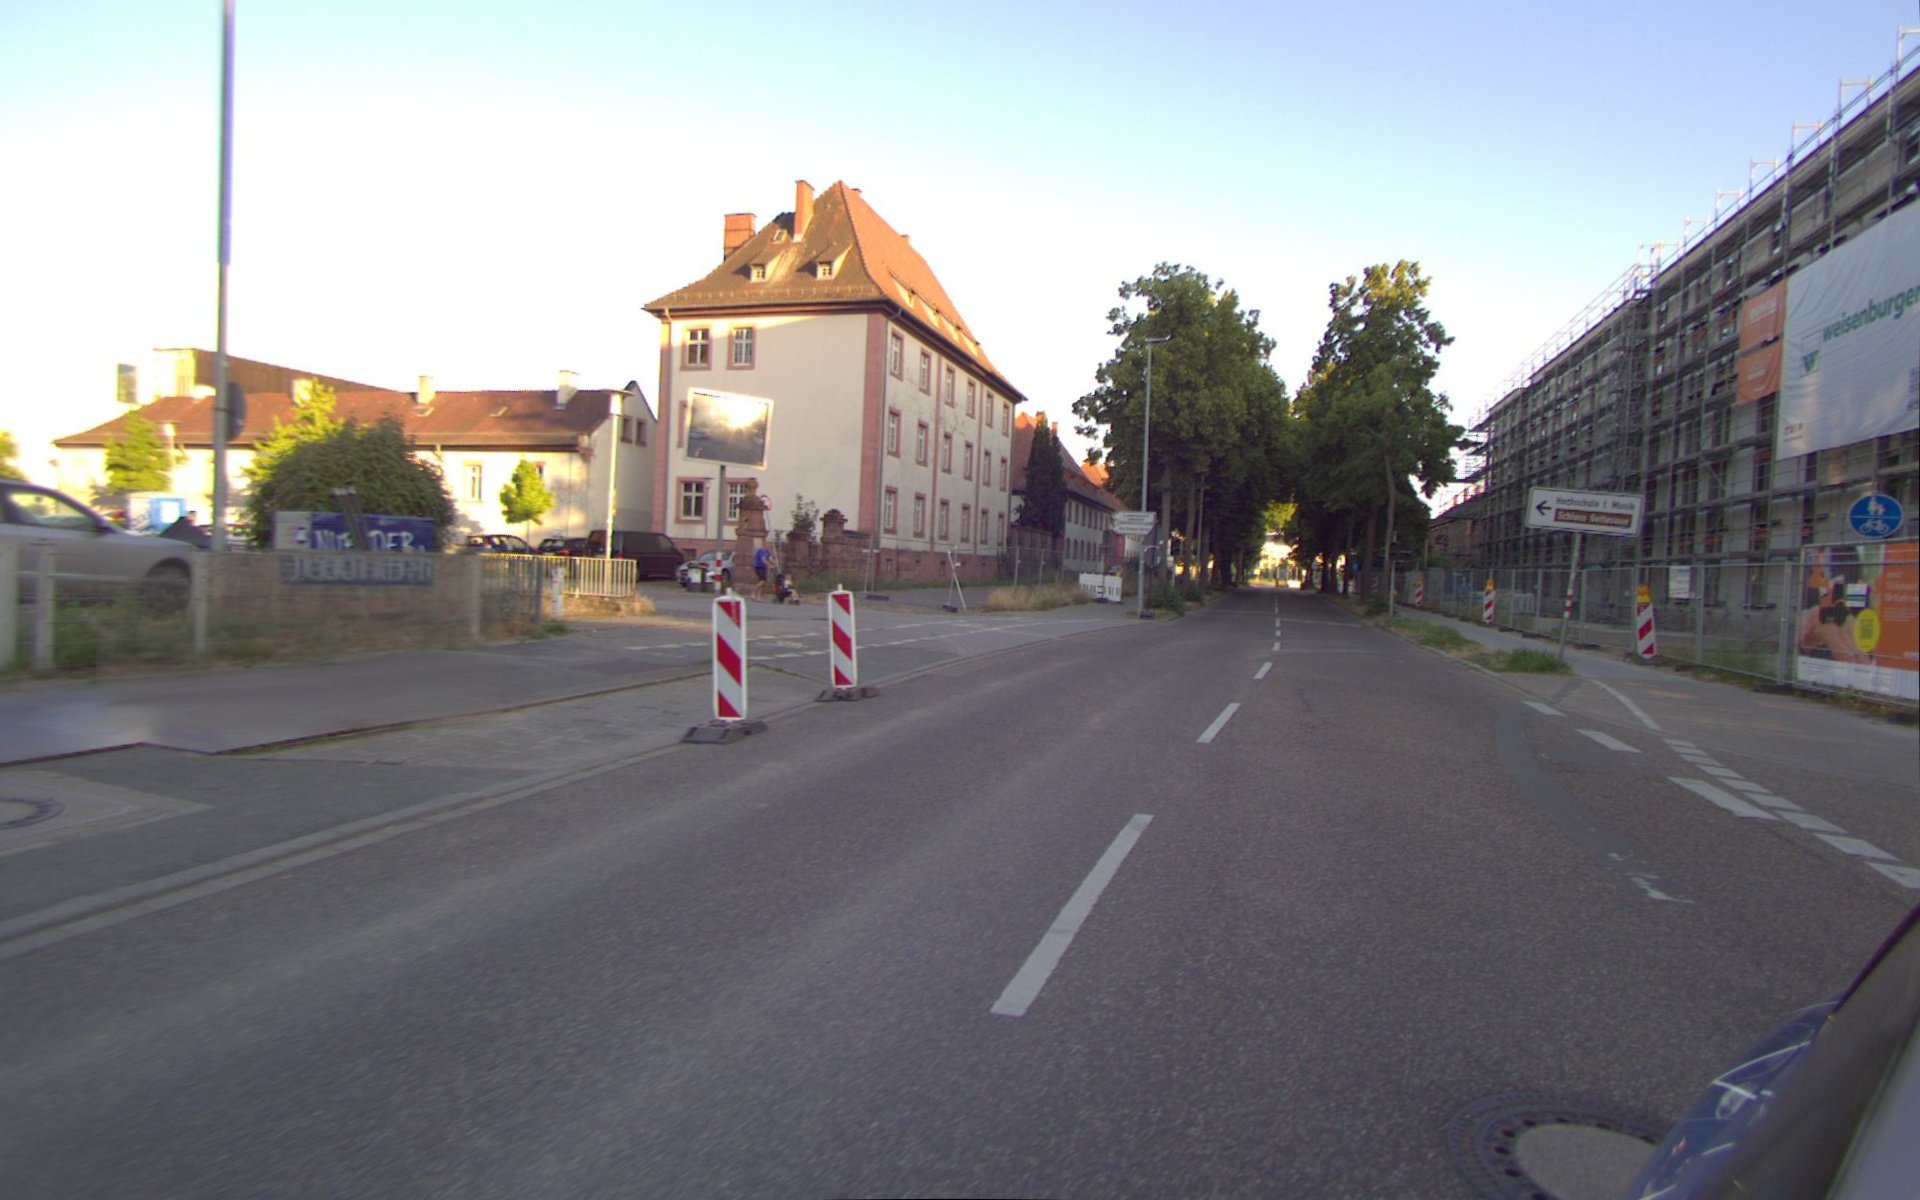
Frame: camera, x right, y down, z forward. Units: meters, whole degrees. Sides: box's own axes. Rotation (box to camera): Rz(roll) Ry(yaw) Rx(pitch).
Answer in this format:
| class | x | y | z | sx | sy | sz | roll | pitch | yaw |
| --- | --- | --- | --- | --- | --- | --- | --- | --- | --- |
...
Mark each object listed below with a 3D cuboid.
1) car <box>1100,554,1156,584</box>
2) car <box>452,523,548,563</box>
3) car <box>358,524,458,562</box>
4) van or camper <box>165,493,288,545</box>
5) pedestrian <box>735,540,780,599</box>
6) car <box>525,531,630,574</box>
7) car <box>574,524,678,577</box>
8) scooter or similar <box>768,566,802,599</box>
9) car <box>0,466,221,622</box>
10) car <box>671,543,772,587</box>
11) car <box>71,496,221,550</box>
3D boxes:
| class | x | y | z | sx | sy | sz | roll | pitch | yaw |
| --- | --- | --- | --- | --- | --- | --- | --- | --- | --- |
| car | 12.455 | -2.298 | 74.988 | 3.942 | 2.038 | 1.992 | 3 | 2 | 14 |
| car | -19.235 | -2.357 | 42.456 | 1.663 | 1.547 | 3.736 | 2 | 2 | 15 |
| car | -23.672 | -2.435 | 43.527 | 1.663 | 1.463 | 3.736 | 2 | 2 | 15 |
| van or camper | -35.988 | -3.912 | 49.839 | 1.663 | 2.268 | 4.956 | 2 | 2 | 15 |
| pedestrian | -5.844 | -0.890 | 29.267 | 1.002 | 1.662 | 0.747 | 3 | 2 | 20 |
| car | -15.237 | -1.872 | 40.553 | 1.972 | 1.592 | 3.982 | 2 | 2 | 15 |
| car | -12.873 | -1.891 | 39.248 | 1.972 | 1.881 | 3.982 | 2 | 2 | 15 |
| scooter or similar | -5.001 | -0.498 | 28.911 | 0.796 | 0.901 | 0.512 | 3 | 2 | 19 |
| car | -11.311 | -0.672 | 11.749 | 1.680 | 1.729 | 4.260 | 3 | 3 | 17 |
| car | -8.763 | -1.277 | 37.476 | 1.972 | 1.477 | 3.982 | 3 | 2 | 15 |
| car | -27.724 | -2.601 | 34.599 | 1.663 | 1.622 | 3.736 | 4 | 3 | 15 |
